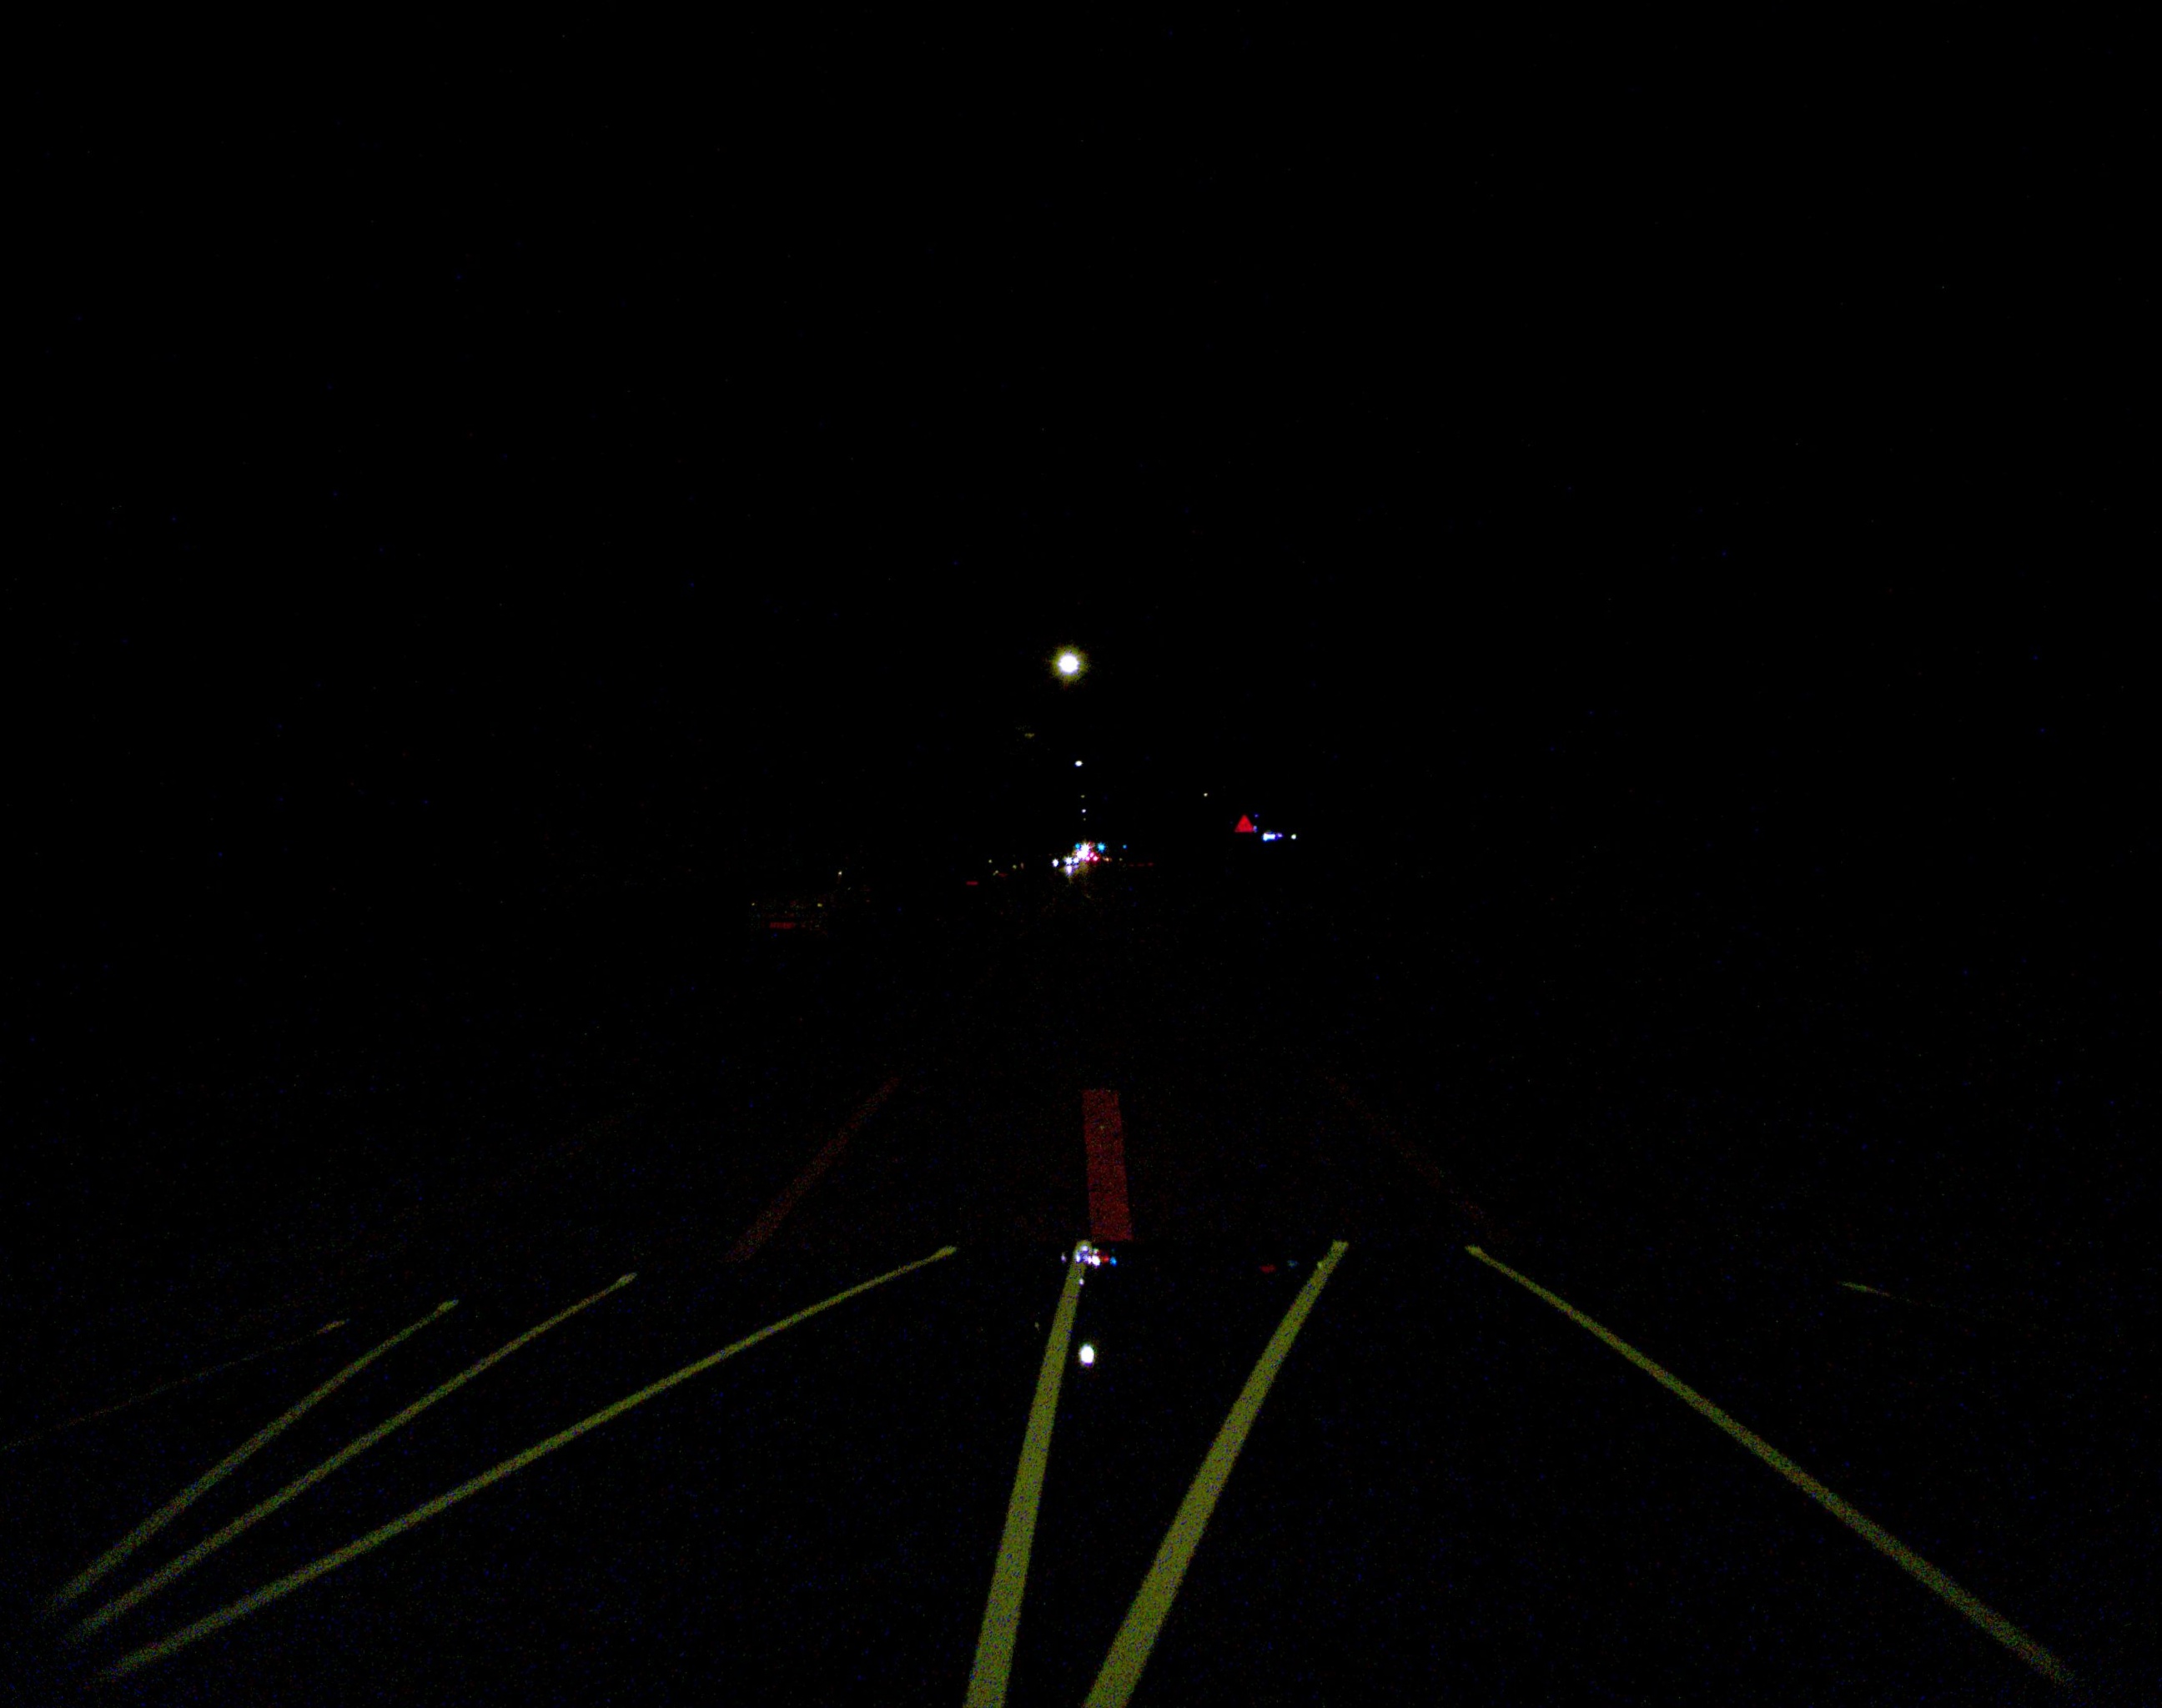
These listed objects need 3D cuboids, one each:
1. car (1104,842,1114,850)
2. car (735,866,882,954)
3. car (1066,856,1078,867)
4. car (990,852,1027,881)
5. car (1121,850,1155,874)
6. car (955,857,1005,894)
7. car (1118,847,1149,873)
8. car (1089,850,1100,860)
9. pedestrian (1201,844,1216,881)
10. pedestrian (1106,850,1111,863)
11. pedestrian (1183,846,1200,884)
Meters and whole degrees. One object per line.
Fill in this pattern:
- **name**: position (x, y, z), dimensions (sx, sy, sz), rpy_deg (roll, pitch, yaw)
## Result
- **car**: position (5.653, -1.588, 153.899), dimensions (1.903, 1.581, 3.661), rpy_deg (-2, 1, 2)
- **car**: position (-5.233, 1.009, 15.068), dimensions (1.611, 1.500, 3.486), rpy_deg (0, 0, 1)
- **car**: position (-1.524, 1.288, 134.440), dimensions (1.998, 1.718, 3.803), rpy_deg (-2, 1, 1)
- **car**: position (-4.456, 0.752, 47.482), dimensions (1.852, 1.643, 4.179), rpy_deg (-2, 0, 0)
- **car**: position (3.894, 0.516, 52.083), dimensions (1.998, 1.477, 3.999), rpy_deg (-3, 1, 1)
- **car**: position (-4.465, 0.906, 33.950), dimensions (1.742, 1.489, 3.890), rpy_deg (-1, 0, -1)
- **car**: position (3.882, 0.395, 56.980), dimensions (1.998, 1.772, 3.999), rpy_deg (-2, 1, 1)
- **car**: position (2.382, 0.208, 131.393), dimensions (1.754, 1.433, 3.487), rpy_deg (-2, -2, 1)
- **pedestrian**: position (6.113, 0.399, 36.339), dimensions (0.565, 1.750, 0.500), rpy_deg (-2, 1, 1)
- **pedestrian**: position (4.289, 0.344, 118.141), dimensions (0.804, 2.002, 0.940), rpy_deg (-2, 1, 1)
- **pedestrian**: position (5.134, 0.503, 35.309), dimensions (0.673, 1.750, 0.500), rpy_deg (-2, 1, 1)
